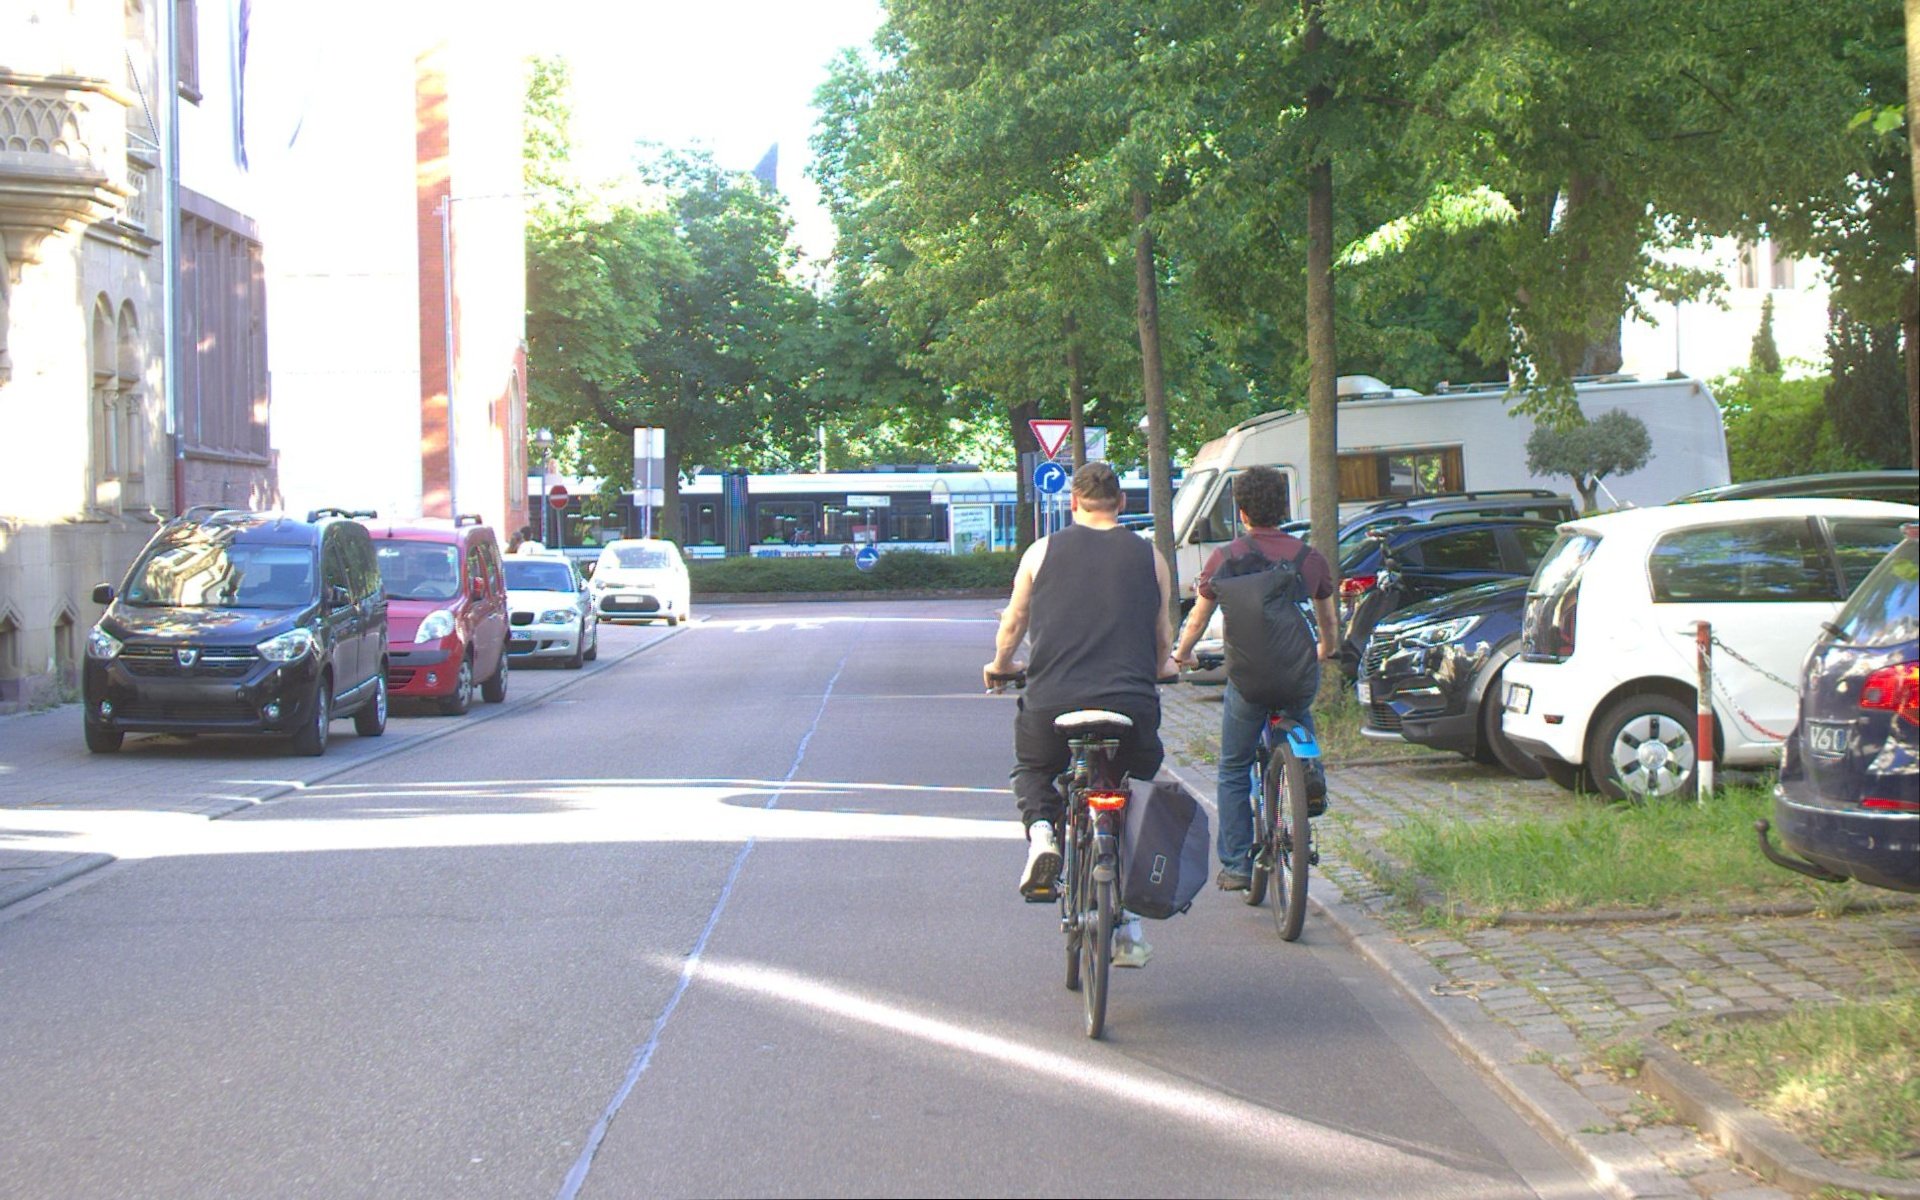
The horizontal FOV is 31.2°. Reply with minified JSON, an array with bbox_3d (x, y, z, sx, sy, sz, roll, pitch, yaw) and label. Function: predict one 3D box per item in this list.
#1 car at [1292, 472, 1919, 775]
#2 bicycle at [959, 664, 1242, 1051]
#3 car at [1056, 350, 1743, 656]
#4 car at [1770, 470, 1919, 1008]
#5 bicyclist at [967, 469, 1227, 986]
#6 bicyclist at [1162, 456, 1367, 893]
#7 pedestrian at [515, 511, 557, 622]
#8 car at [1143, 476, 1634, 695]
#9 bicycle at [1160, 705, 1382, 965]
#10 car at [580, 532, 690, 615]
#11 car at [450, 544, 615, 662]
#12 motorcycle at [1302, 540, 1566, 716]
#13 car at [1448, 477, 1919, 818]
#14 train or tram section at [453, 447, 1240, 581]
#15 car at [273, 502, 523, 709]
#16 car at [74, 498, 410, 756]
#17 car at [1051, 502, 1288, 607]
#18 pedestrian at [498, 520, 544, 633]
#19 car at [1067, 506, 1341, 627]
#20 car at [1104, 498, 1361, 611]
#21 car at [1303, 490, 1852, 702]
[{"bbox_3d":[4.083,0.129,19.938,4.139,1.594,1.702,-1,-1,1],"label":"car"},{"bbox_3d":[0.403,0.758,10.836,0.737,1.050,1.956,1,0,-2],"label":"bicycle"},{"bbox_3d":[4.797,-1.069,38.310,7.146,2.968,2.465,-3,1,-3],"label":"car"},{"bbox_3d":[4.914,0.366,10.980,4.223,1.594,1.691,-1,-1,1],"label":"car"},{"bbox_3d":[0.412,0.381,10.779,0.729,1.542,0.885,1,0,-2],"label":"bicyclist"},{"bbox_3d":[1.157,0.267,13.247,0.689,1.621,0.998,0,1,0],"label":"bicyclist"},{"bbox_3d":[-6.773,-0.540,54.959,0.609,1.756,0.432,0,0,0],"label":"pedestrian"},{"bbox_3d":[3.810,-0.142,30.997,4.082,1.644,1.641,-4,1,-2],"label":"car"},{"bbox_3d":[1.152,0.857,13.044,0.633,0.796,1.833,-1,1,-1],"label":"bicycle"},{"bbox_3d":[-5.795,-0.504,61.629,1.583,1.371,4.131,1,2,0],"label":"car"},{"bbox_3d":[-5.393,0.000,43.785,1.583,1.339,4.131,1,2,0],"label":"car"},{"bbox_3d":[3.192,0.186,23.195,1.606,1.137,0.671,-1,1,33],"label":"motorcycle"},{"bbox_3d":[4.484,0.190,17.406,3.773,1.594,1.691,-1,1,1],"label":"car"},{"bbox_3d":[-3.143,-2.491,104.014,23.800,3.696,4.287,0,1,-23],"label":"train or tram section"},{"bbox_3d":[-5.334,-0.010,33.088,1.688,1.819,4.273,1,2,0],"label":"car"},{"bbox_3d":[-5.374,0.124,26.237,1.640,1.777,4.354,1,2,0],"label":"car"},{"bbox_3d":[3.667,-0.791,60.560,3.986,1.797,1.834,0,0,-3],"label":"car"},{"bbox_3d":[-6.583,-0.352,51.556,0.609,1.673,0.518,0,0,0],"label":"pedestrian"},{"bbox_3d":[3.704,-0.518,52.675,3.986,1.797,1.834,0,0,-3],"label":"car"},{"bbox_3d":[4.438,-0.746,56.430,3.986,1.797,1.834,0,0,-3],"label":"car"},{"bbox_3d":[5.027,-0.024,28.335,4.138,1.594,1.703,-1,-1,-3],"label":"car"}]
